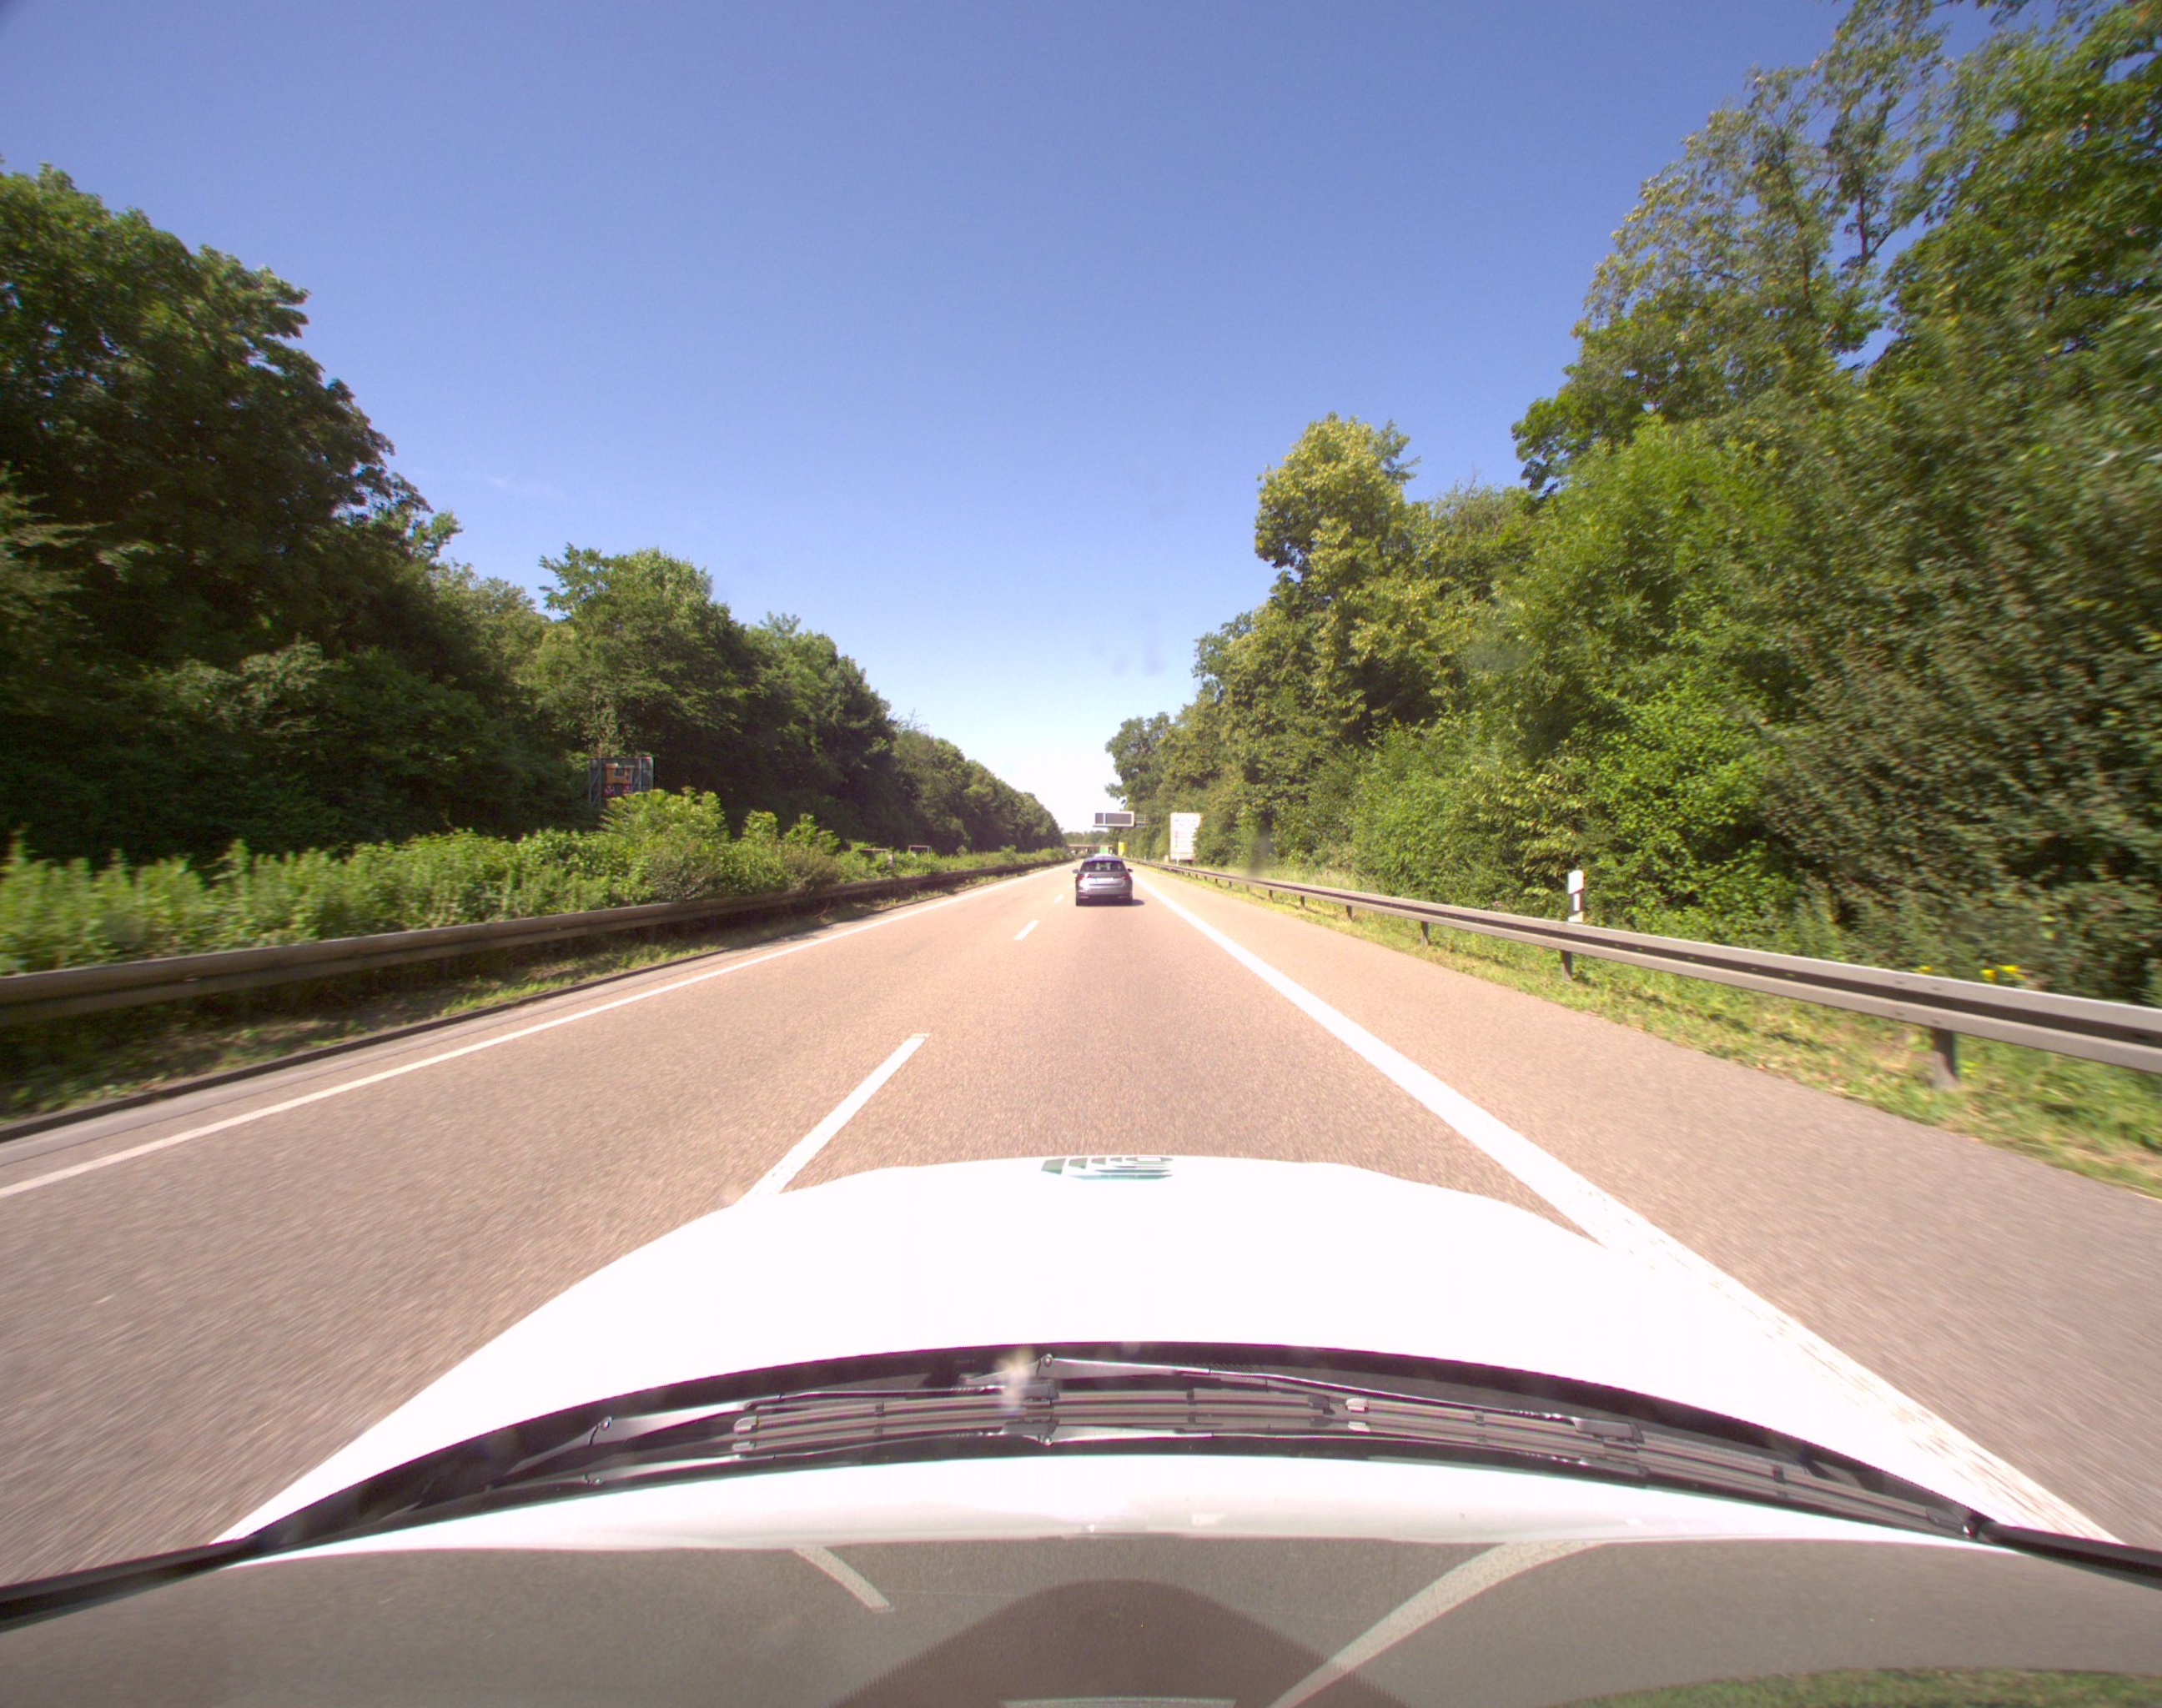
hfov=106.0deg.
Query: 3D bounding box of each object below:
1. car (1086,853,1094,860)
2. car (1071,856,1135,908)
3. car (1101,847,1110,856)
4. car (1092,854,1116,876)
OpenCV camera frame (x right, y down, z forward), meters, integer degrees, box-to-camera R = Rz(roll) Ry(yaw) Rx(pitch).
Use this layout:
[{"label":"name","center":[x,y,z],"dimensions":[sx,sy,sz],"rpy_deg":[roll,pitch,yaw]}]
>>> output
[{"label":"car","center":[2.507,0.628,221.437],"dimensions":[1.986,2.014,4.002],"rpy_deg":[0,-1,2]},{"label":"car","center":[0.745,0.815,25.111],"dimensions":[1.832,1.472,3.627],"rpy_deg":[0,0,3]},{"label":"car","center":[7.403,-0.644,249.613],"dimensions":[2.738,2.654,4.001],"rpy_deg":[0,-1,2]},{"label":"car","center":[1.627,0.764,57.059],"dimensions":[1.516,1.446,3.343],"rpy_deg":[0,0,3]}]
